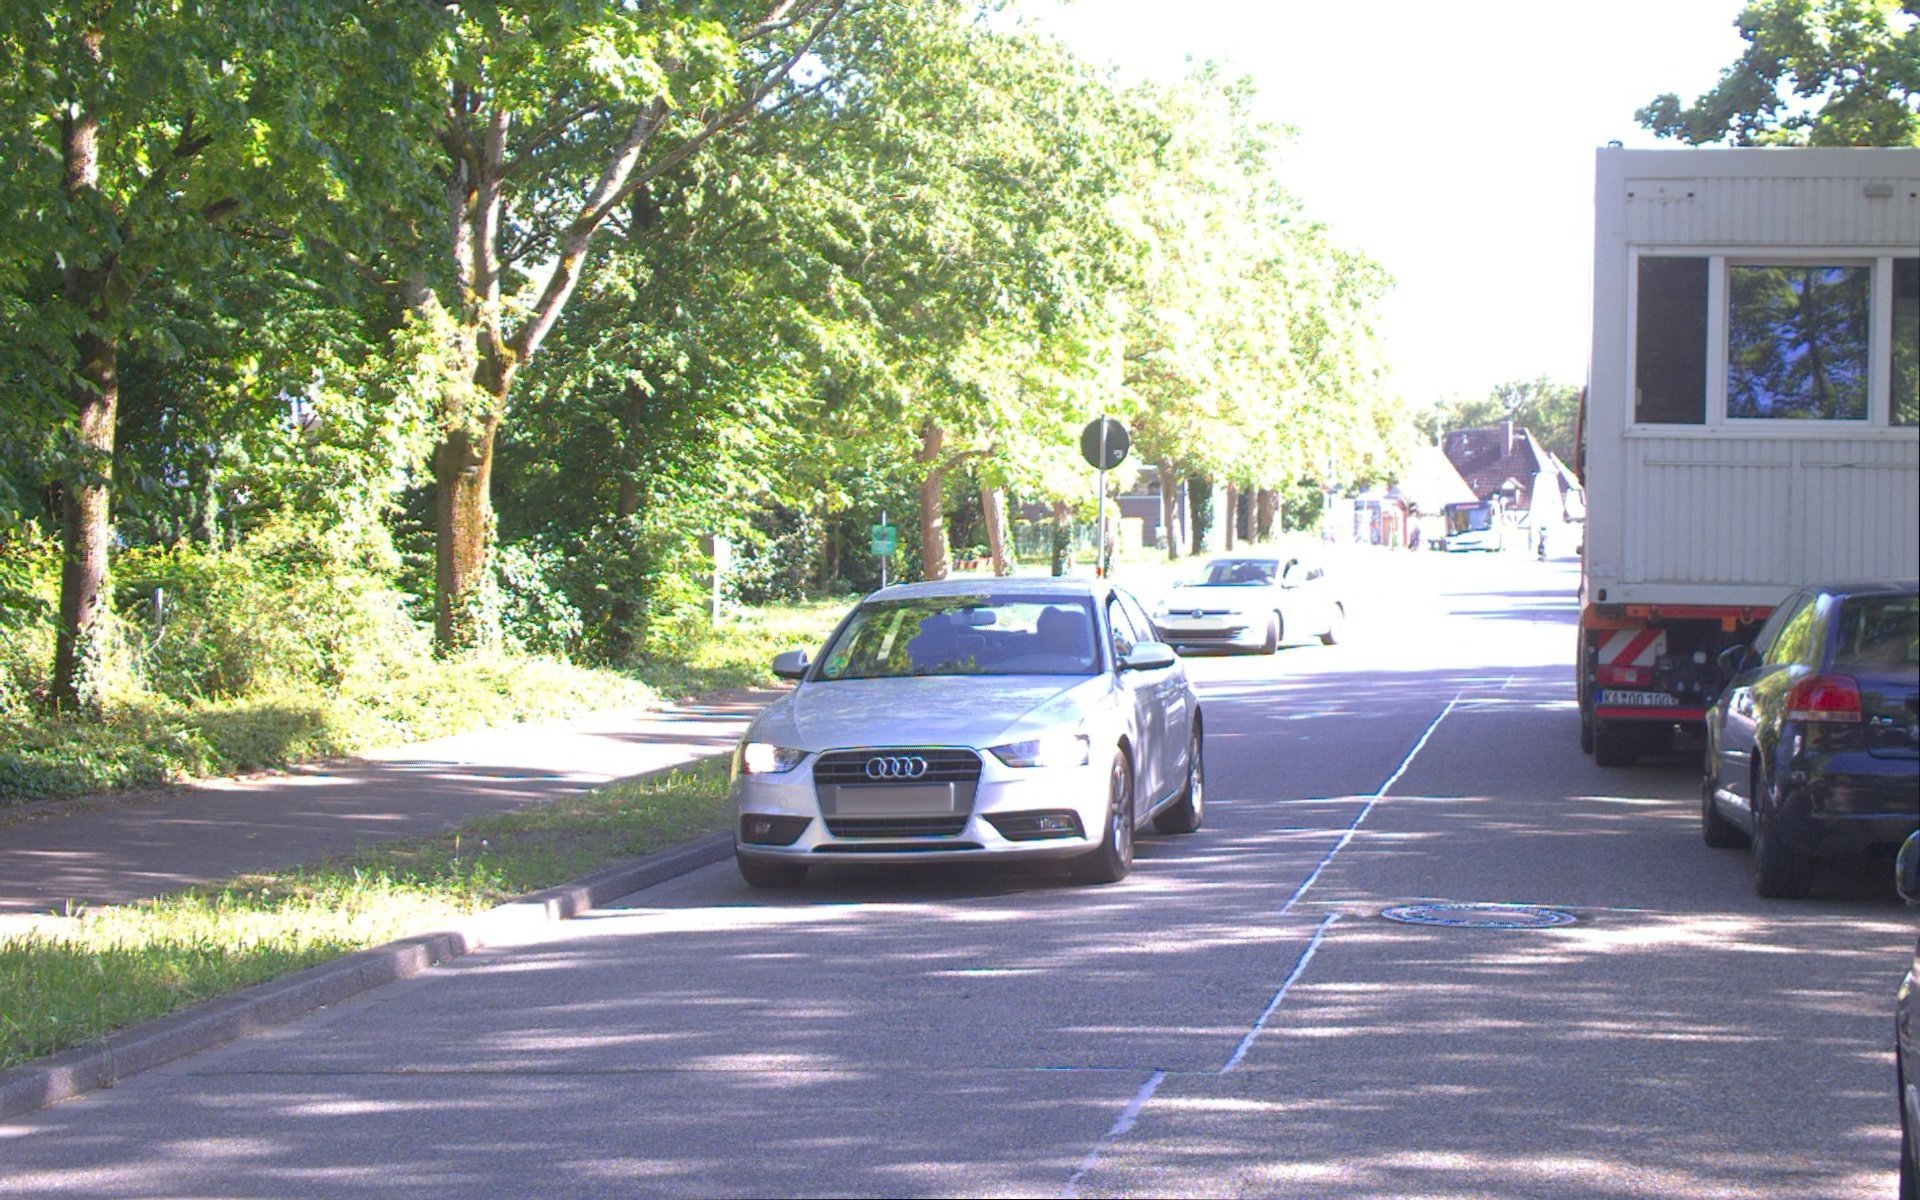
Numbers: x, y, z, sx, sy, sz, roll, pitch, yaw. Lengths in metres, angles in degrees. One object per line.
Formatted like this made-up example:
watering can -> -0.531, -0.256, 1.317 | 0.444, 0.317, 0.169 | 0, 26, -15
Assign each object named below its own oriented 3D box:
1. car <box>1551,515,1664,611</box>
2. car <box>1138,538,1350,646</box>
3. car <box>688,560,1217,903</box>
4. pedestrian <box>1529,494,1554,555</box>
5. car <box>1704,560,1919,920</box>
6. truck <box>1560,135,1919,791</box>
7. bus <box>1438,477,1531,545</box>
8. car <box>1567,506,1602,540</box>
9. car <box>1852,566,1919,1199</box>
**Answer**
car -> 12.761, -0.743, 67.925 | 1.947, 1.836, 3.999 | 0, 1, 7
car -> 4.179, -0.137, 50.073 | 1.808, 1.415, 3.954 | -2, 1, 24
car -> 0.104, 0.563, 17.077 | 1.787, 1.412, 4.102 | -1, 1, 12
pedestrian -> 20.444, -2.655, 120.934 | 0.753, 2.106, 0.798 | 2, 1, 13
car -> 4.378, 0.556, 15.998 | 1.640, 1.415, 3.998 | 1, 1, 10
truck -> 6.027, -0.964, 26.106 | 2.774, 3.982, 10.344 | 1, 2, 10
bus -> 27.454, -4.661, 179.660 | 4.067, 3.337, 9.795 | -1, 1, 13
car -> 34.082, -4.192, 187.628 | 1.782, 1.802, 3.999 | -1, 1, 9
car -> 2.113, 0.709, 4.296 | 1.749, 1.475, 4.028 | 1, 1, 12
